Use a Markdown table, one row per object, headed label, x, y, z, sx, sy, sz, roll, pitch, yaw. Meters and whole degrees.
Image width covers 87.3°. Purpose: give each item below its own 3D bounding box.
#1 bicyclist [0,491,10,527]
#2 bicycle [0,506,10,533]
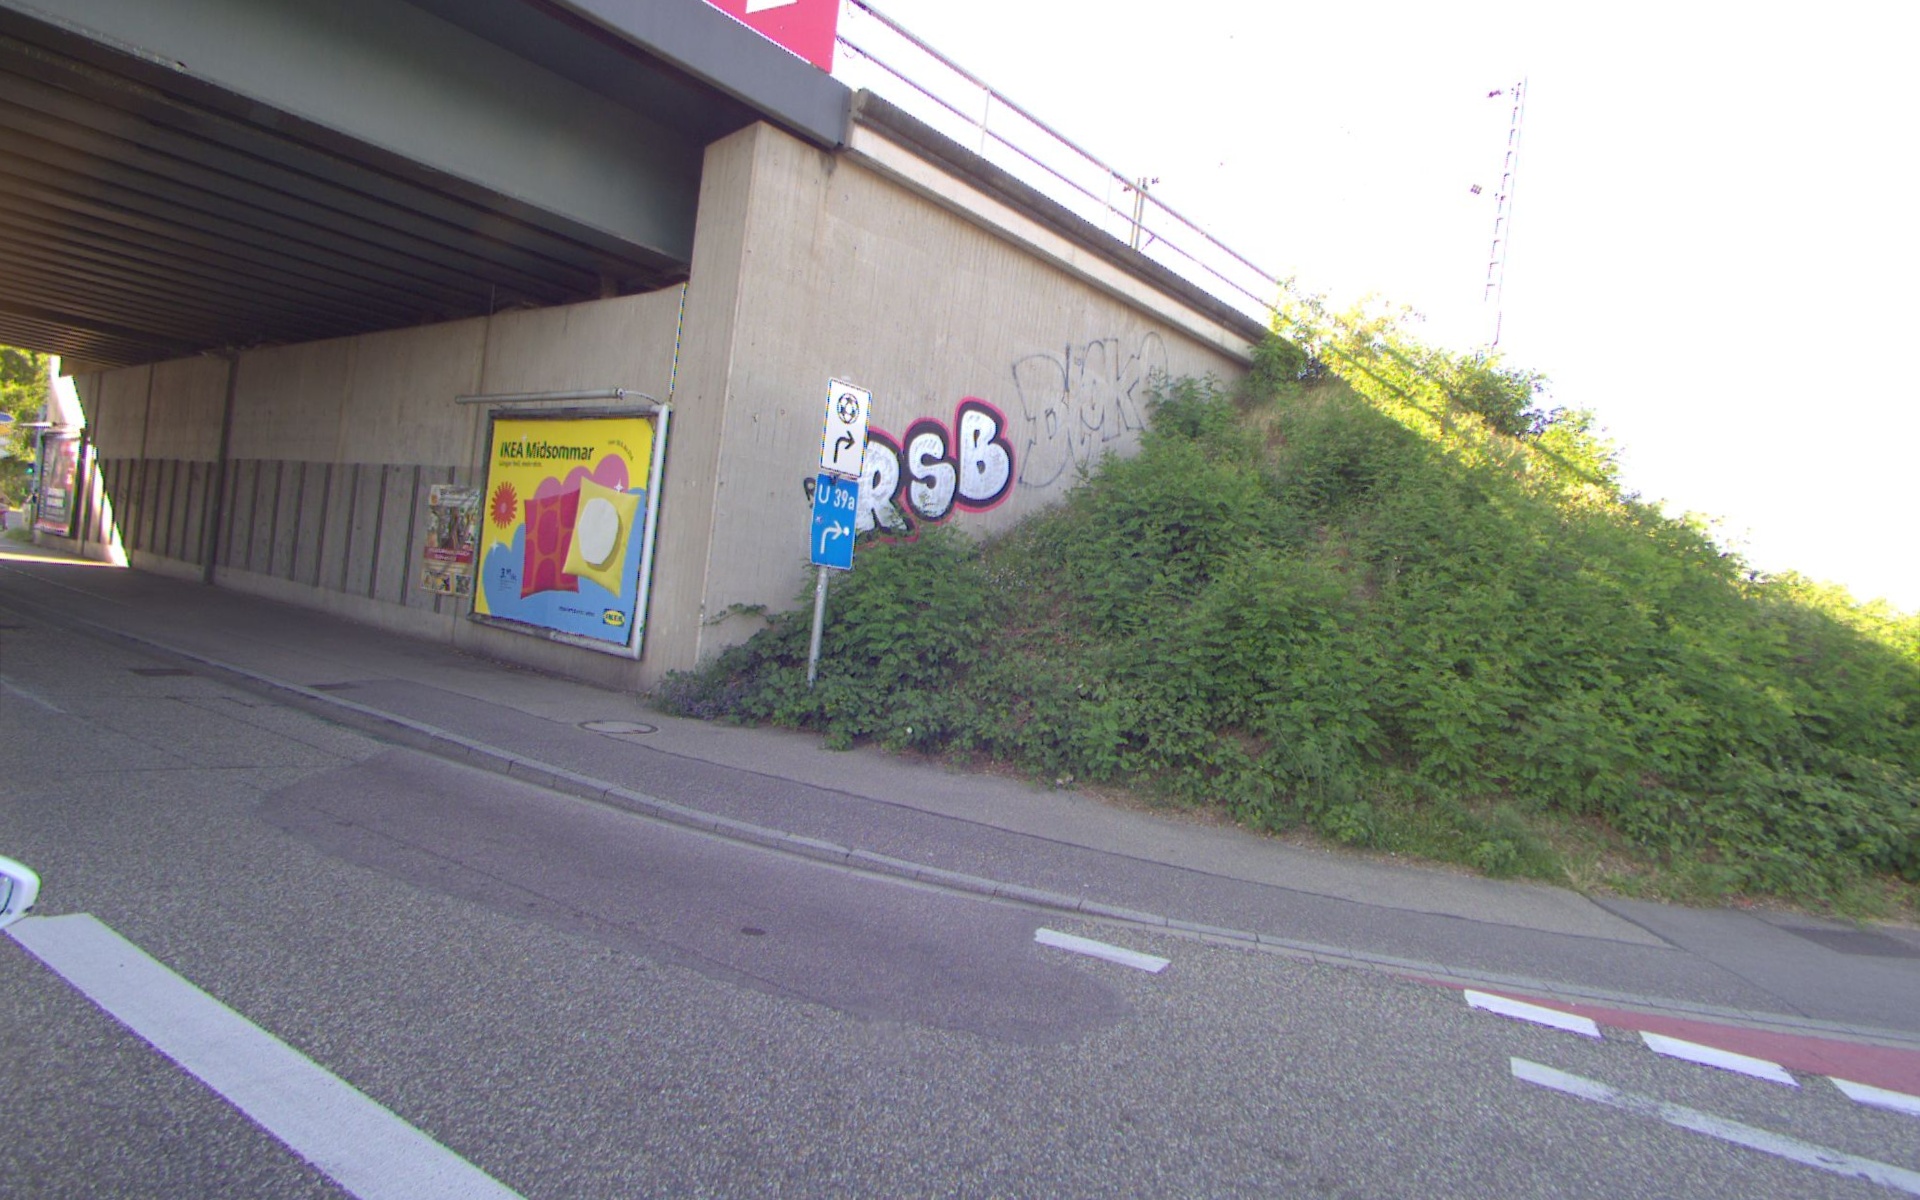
| label | x | y | z | sx | sy | sz | roll | pitch | yaw |
| --- | --- | --- | --- | --- | --- | --- | --- | --- | --- |
| bicyclist | -33.581 | -3.197 | 35.160 | 0.453 | 1.248 | 0.427 | 6 | 1 | 38 |
| bicycle | -33.603 | -2.833 | 35.152 | 1.011 | 0.926 | 0.437 | 6 | 1 | 39 |
